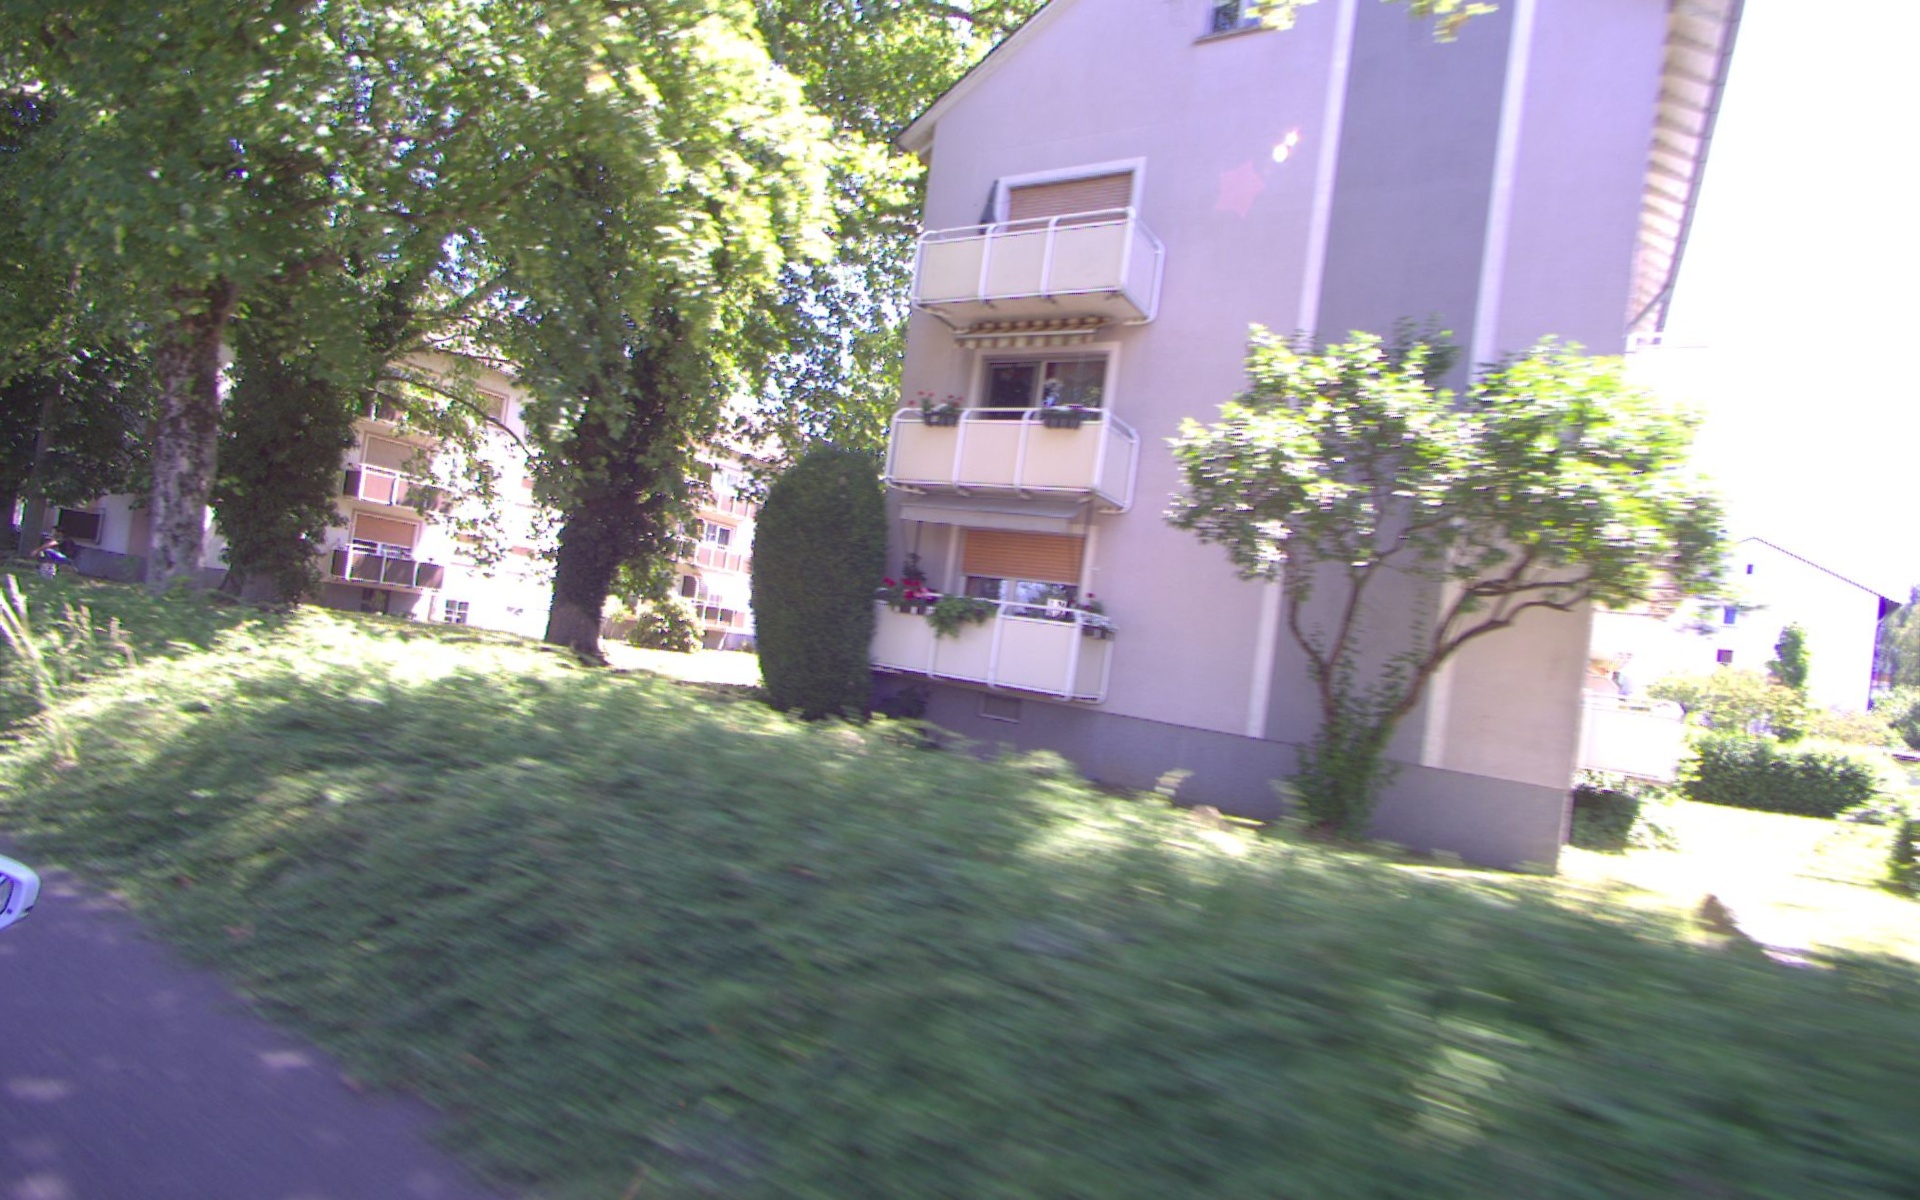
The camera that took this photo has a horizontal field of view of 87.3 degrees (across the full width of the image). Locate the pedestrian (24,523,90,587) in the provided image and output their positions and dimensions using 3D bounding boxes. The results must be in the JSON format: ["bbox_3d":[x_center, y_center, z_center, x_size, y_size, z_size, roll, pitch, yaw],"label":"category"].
[{"bbox_3d":[-21.064,-1.049,23.466,1.055,1.307,0.938,6,-3,43],"label":"pedestrian"}]
